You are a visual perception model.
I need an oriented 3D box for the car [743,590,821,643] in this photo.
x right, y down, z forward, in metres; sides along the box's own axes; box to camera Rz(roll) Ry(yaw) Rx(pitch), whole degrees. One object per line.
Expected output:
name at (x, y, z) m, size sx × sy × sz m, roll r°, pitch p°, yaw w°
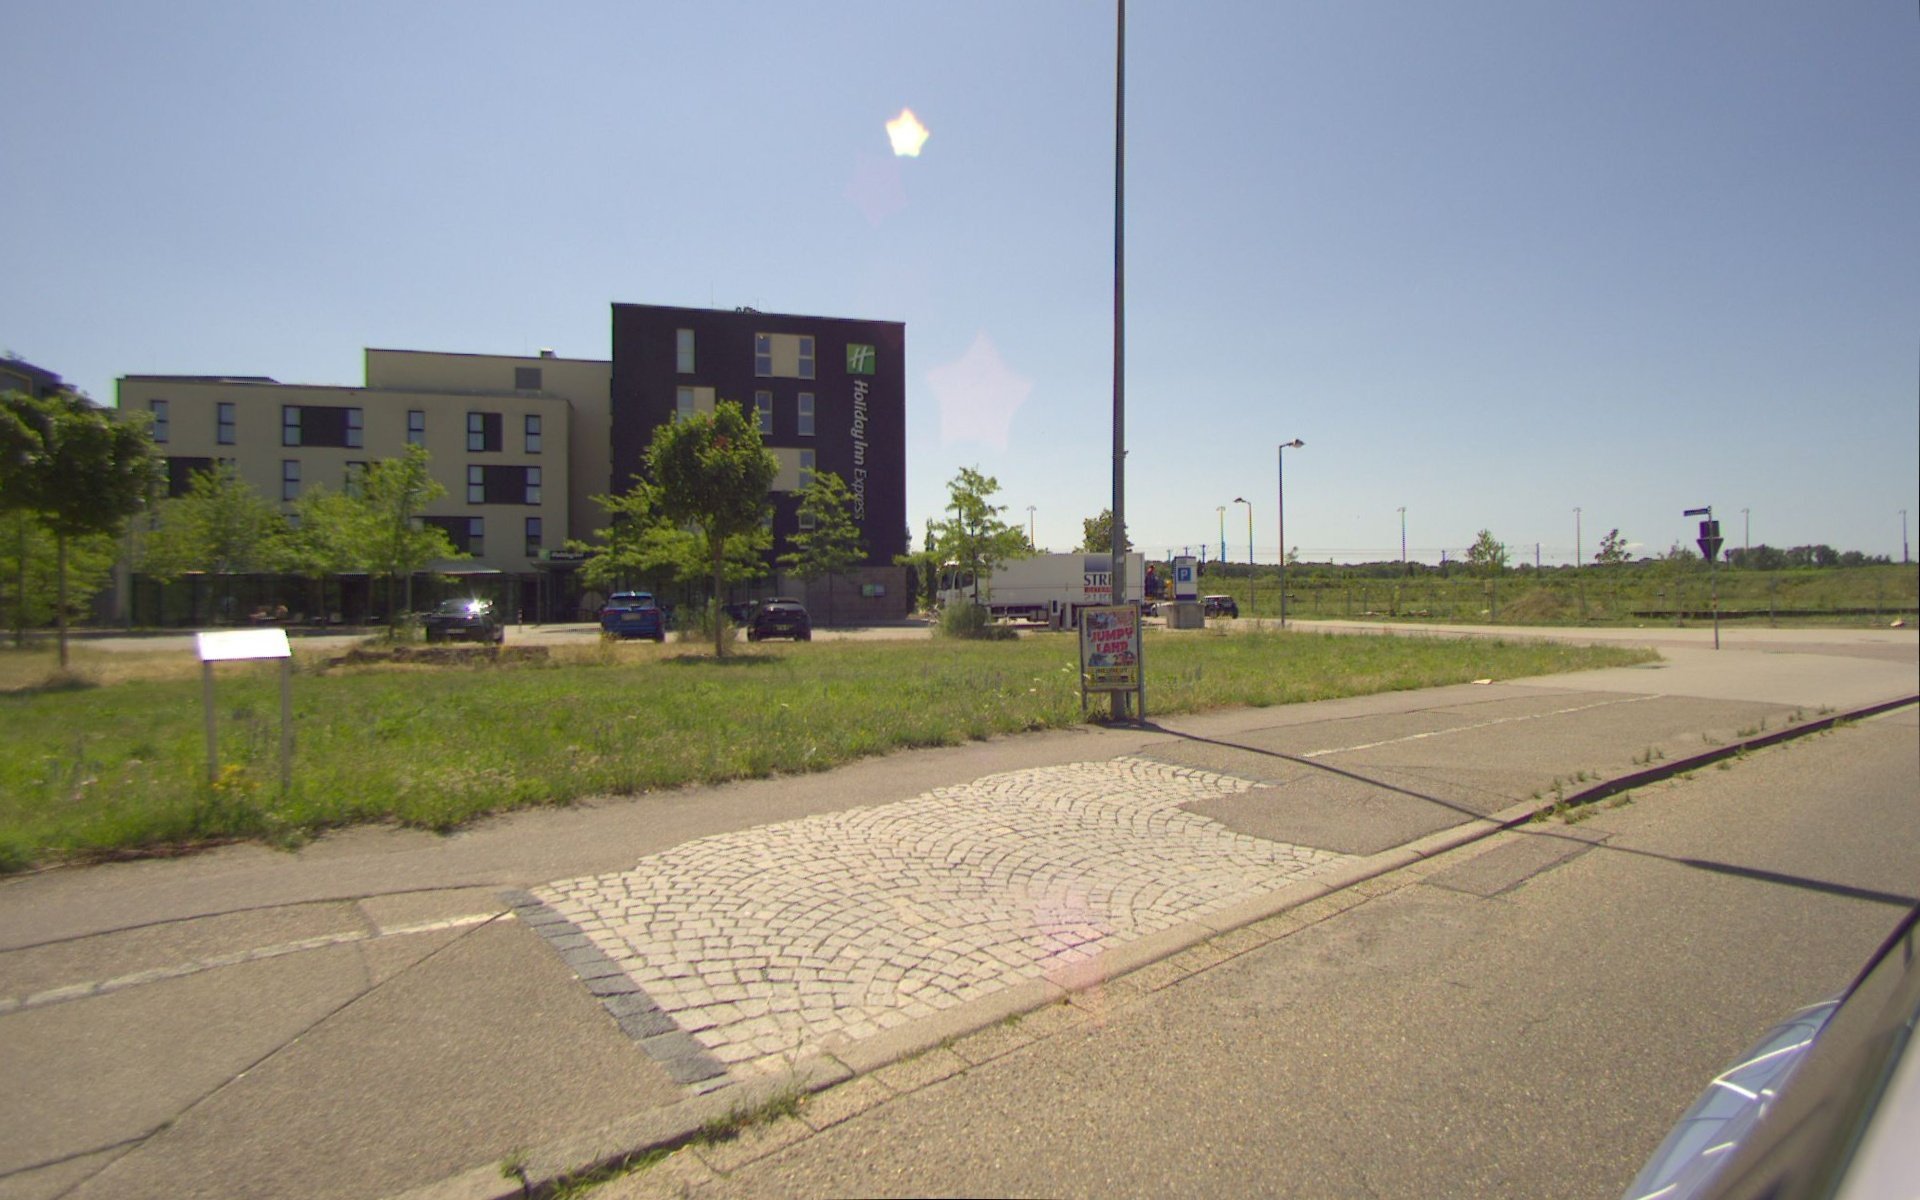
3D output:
car at (-5.806, 0.483, 32.600) m, size 1.989 × 1.581 × 4.517 m, roll 0°, pitch 0°, yaw -16°

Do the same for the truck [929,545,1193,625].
truck at (4.694, -0.784, 47.094) m, size 11.885 × 3.504 × 3.025 m, roll -1°, pitch 2°, yaw -14°

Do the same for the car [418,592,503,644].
car at (-15.059, 0.502, 30.684) m, size 1.921 × 1.463 × 4.134 m, roll -1°, pitch 0°, yaw -21°

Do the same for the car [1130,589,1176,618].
car at (14.525, 0.257, 76.440) m, size 1.841 × 2.039 × 3.923 m, roll -2°, pitch -1°, yaw -15°

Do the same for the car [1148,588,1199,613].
car at (14.223, 0.009, 67.557) m, size 1.712 × 1.577 × 4.053 m, roll 0°, pitch 0°, yaw -15°

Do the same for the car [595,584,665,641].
car at (-10.338, 0.368, 31.931) m, size 1.913 × 1.673 × 4.079 m, roll -1°, pitch 0°, yaw -16°

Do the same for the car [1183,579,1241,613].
car at (15.443, -0.238, 62.221) m, size 1.841 × 2.039 × 3.923 m, roll 0°, pitch 0°, yaw -12°
